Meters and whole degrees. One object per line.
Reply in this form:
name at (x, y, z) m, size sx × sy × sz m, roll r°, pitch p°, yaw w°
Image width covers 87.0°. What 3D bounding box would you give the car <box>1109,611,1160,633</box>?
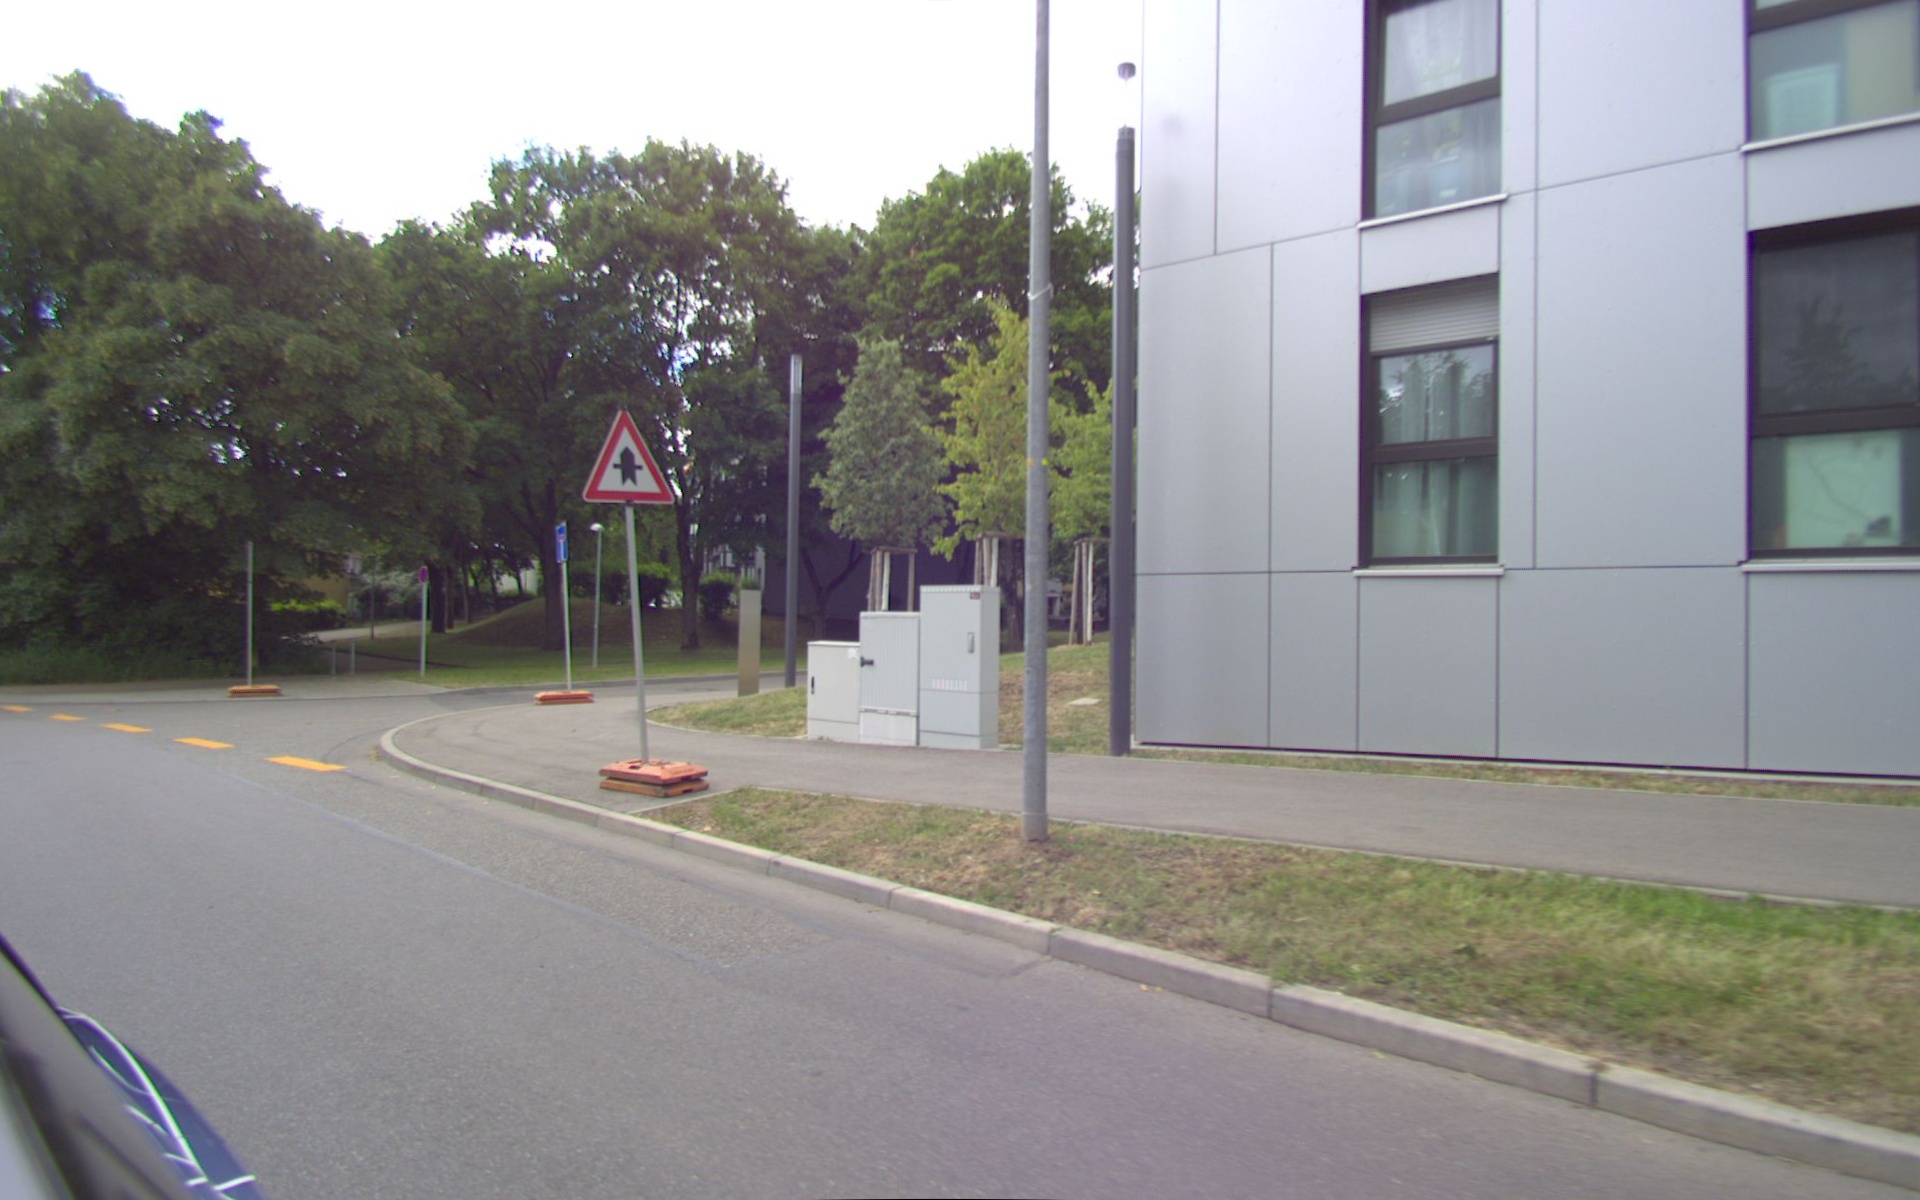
car at (14.656, 1.857, 85.223) m, size 4.192 × 1.780 × 2.206 m, roll -1°, pitch -2°, yaw 8°
